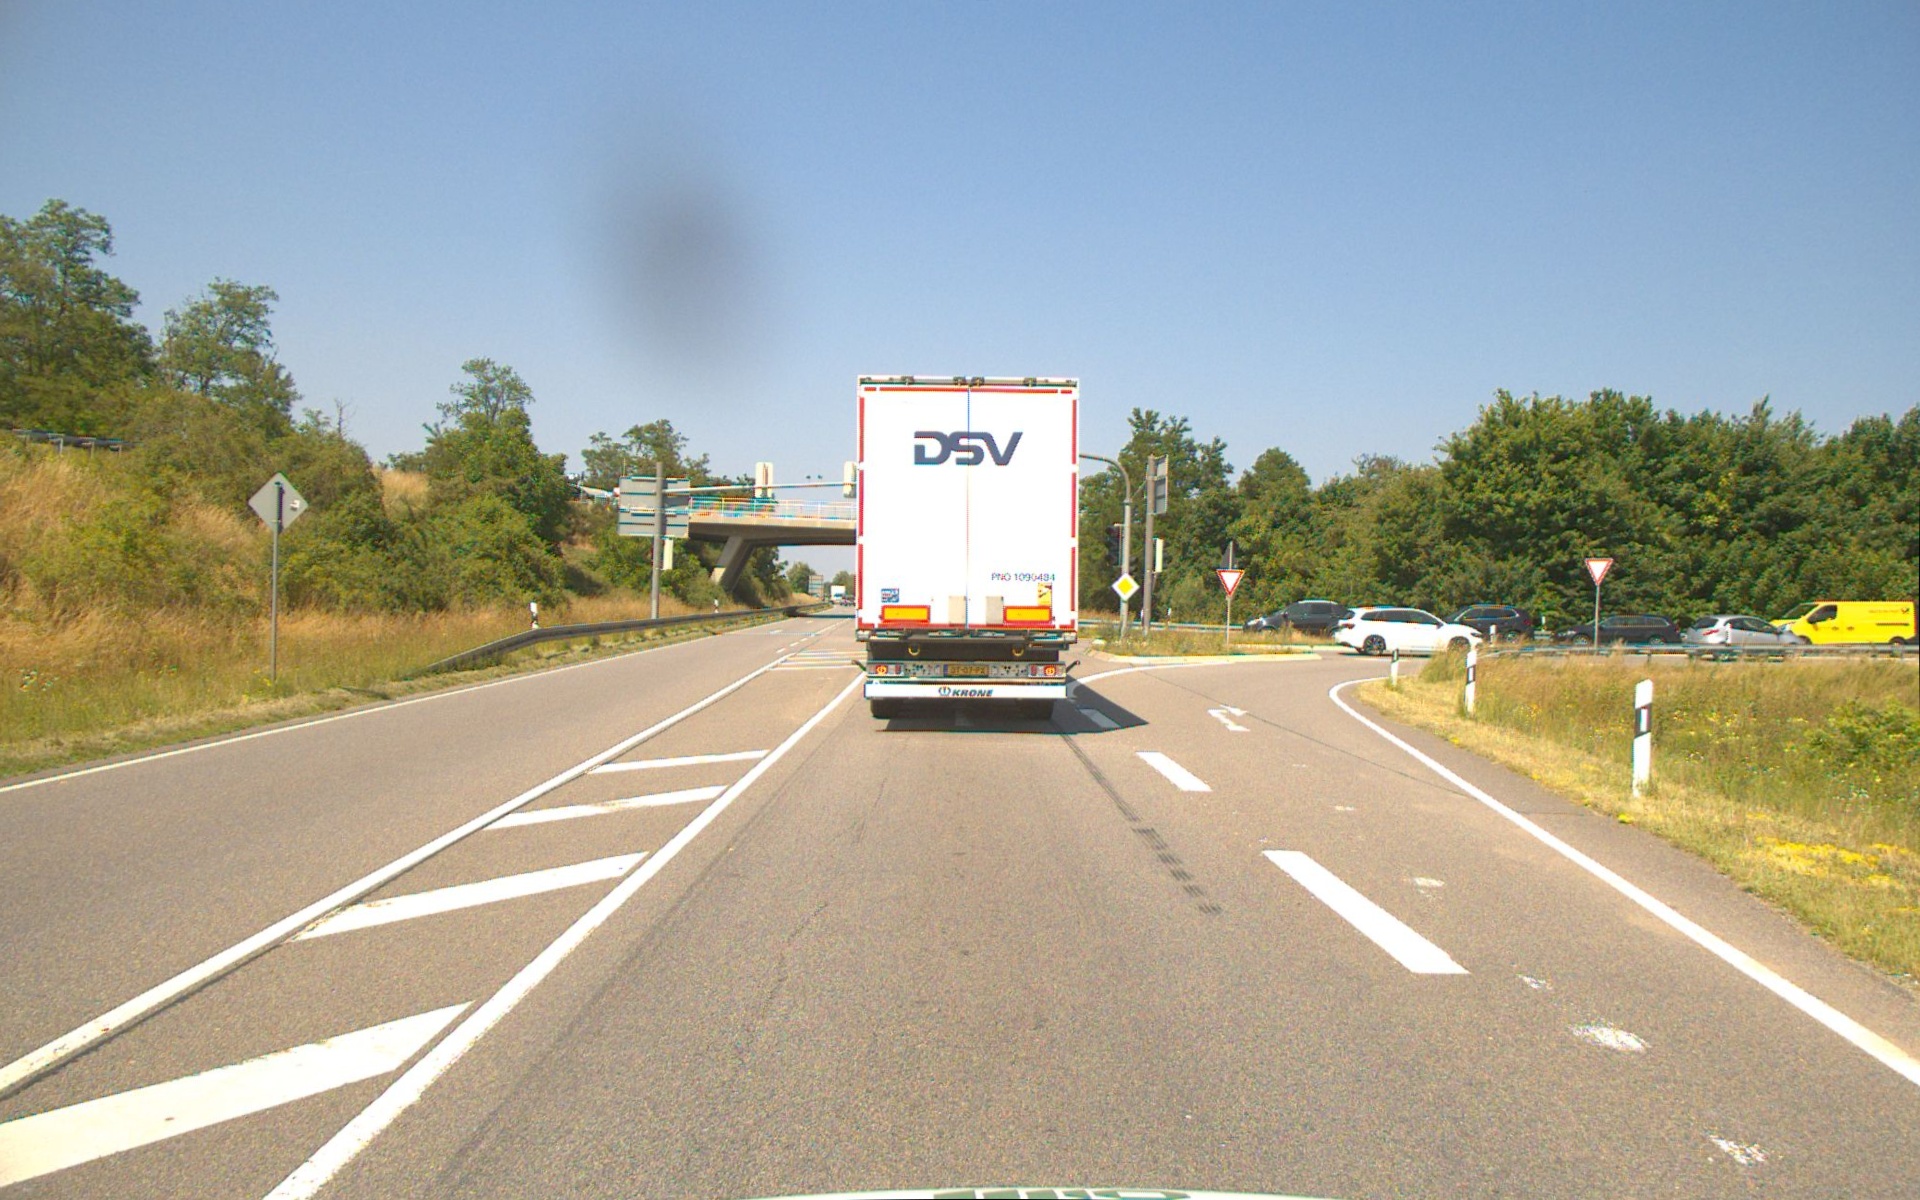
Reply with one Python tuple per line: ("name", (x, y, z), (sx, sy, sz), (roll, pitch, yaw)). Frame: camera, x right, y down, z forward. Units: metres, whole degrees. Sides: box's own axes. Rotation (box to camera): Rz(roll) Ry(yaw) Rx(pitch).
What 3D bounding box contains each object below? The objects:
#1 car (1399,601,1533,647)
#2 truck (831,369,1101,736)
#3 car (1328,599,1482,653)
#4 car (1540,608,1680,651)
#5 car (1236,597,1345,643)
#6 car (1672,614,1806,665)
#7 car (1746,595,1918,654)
("car", (18.514, 0.879, 60.650), (4.392, 1.626, 1.768), (1, -1, 2))
("truck", (0.025, -0.499, 23.174), (2.927, 4.011, 9.874), (1, 0, -1))
("car", (13.860, 0.802, 51.657), (4.375, 1.594, 1.740), (-1, 0, 4))
("car", (24.331, 1.100, 62.044), (4.583, 1.540, 1.854), (1, -1, 7))
("car", (12.495, 0.750, 62.685), (3.901, 1.669, 1.842), (1, -1, 5))
("car", (25.312, 1.277, 53.795), (3.614, 1.594, 1.735), (1, -1, -10))
("car", (31.720, 0.903, 60.249), (5.212, 2.049, 2.000), (1, -1, 1))
